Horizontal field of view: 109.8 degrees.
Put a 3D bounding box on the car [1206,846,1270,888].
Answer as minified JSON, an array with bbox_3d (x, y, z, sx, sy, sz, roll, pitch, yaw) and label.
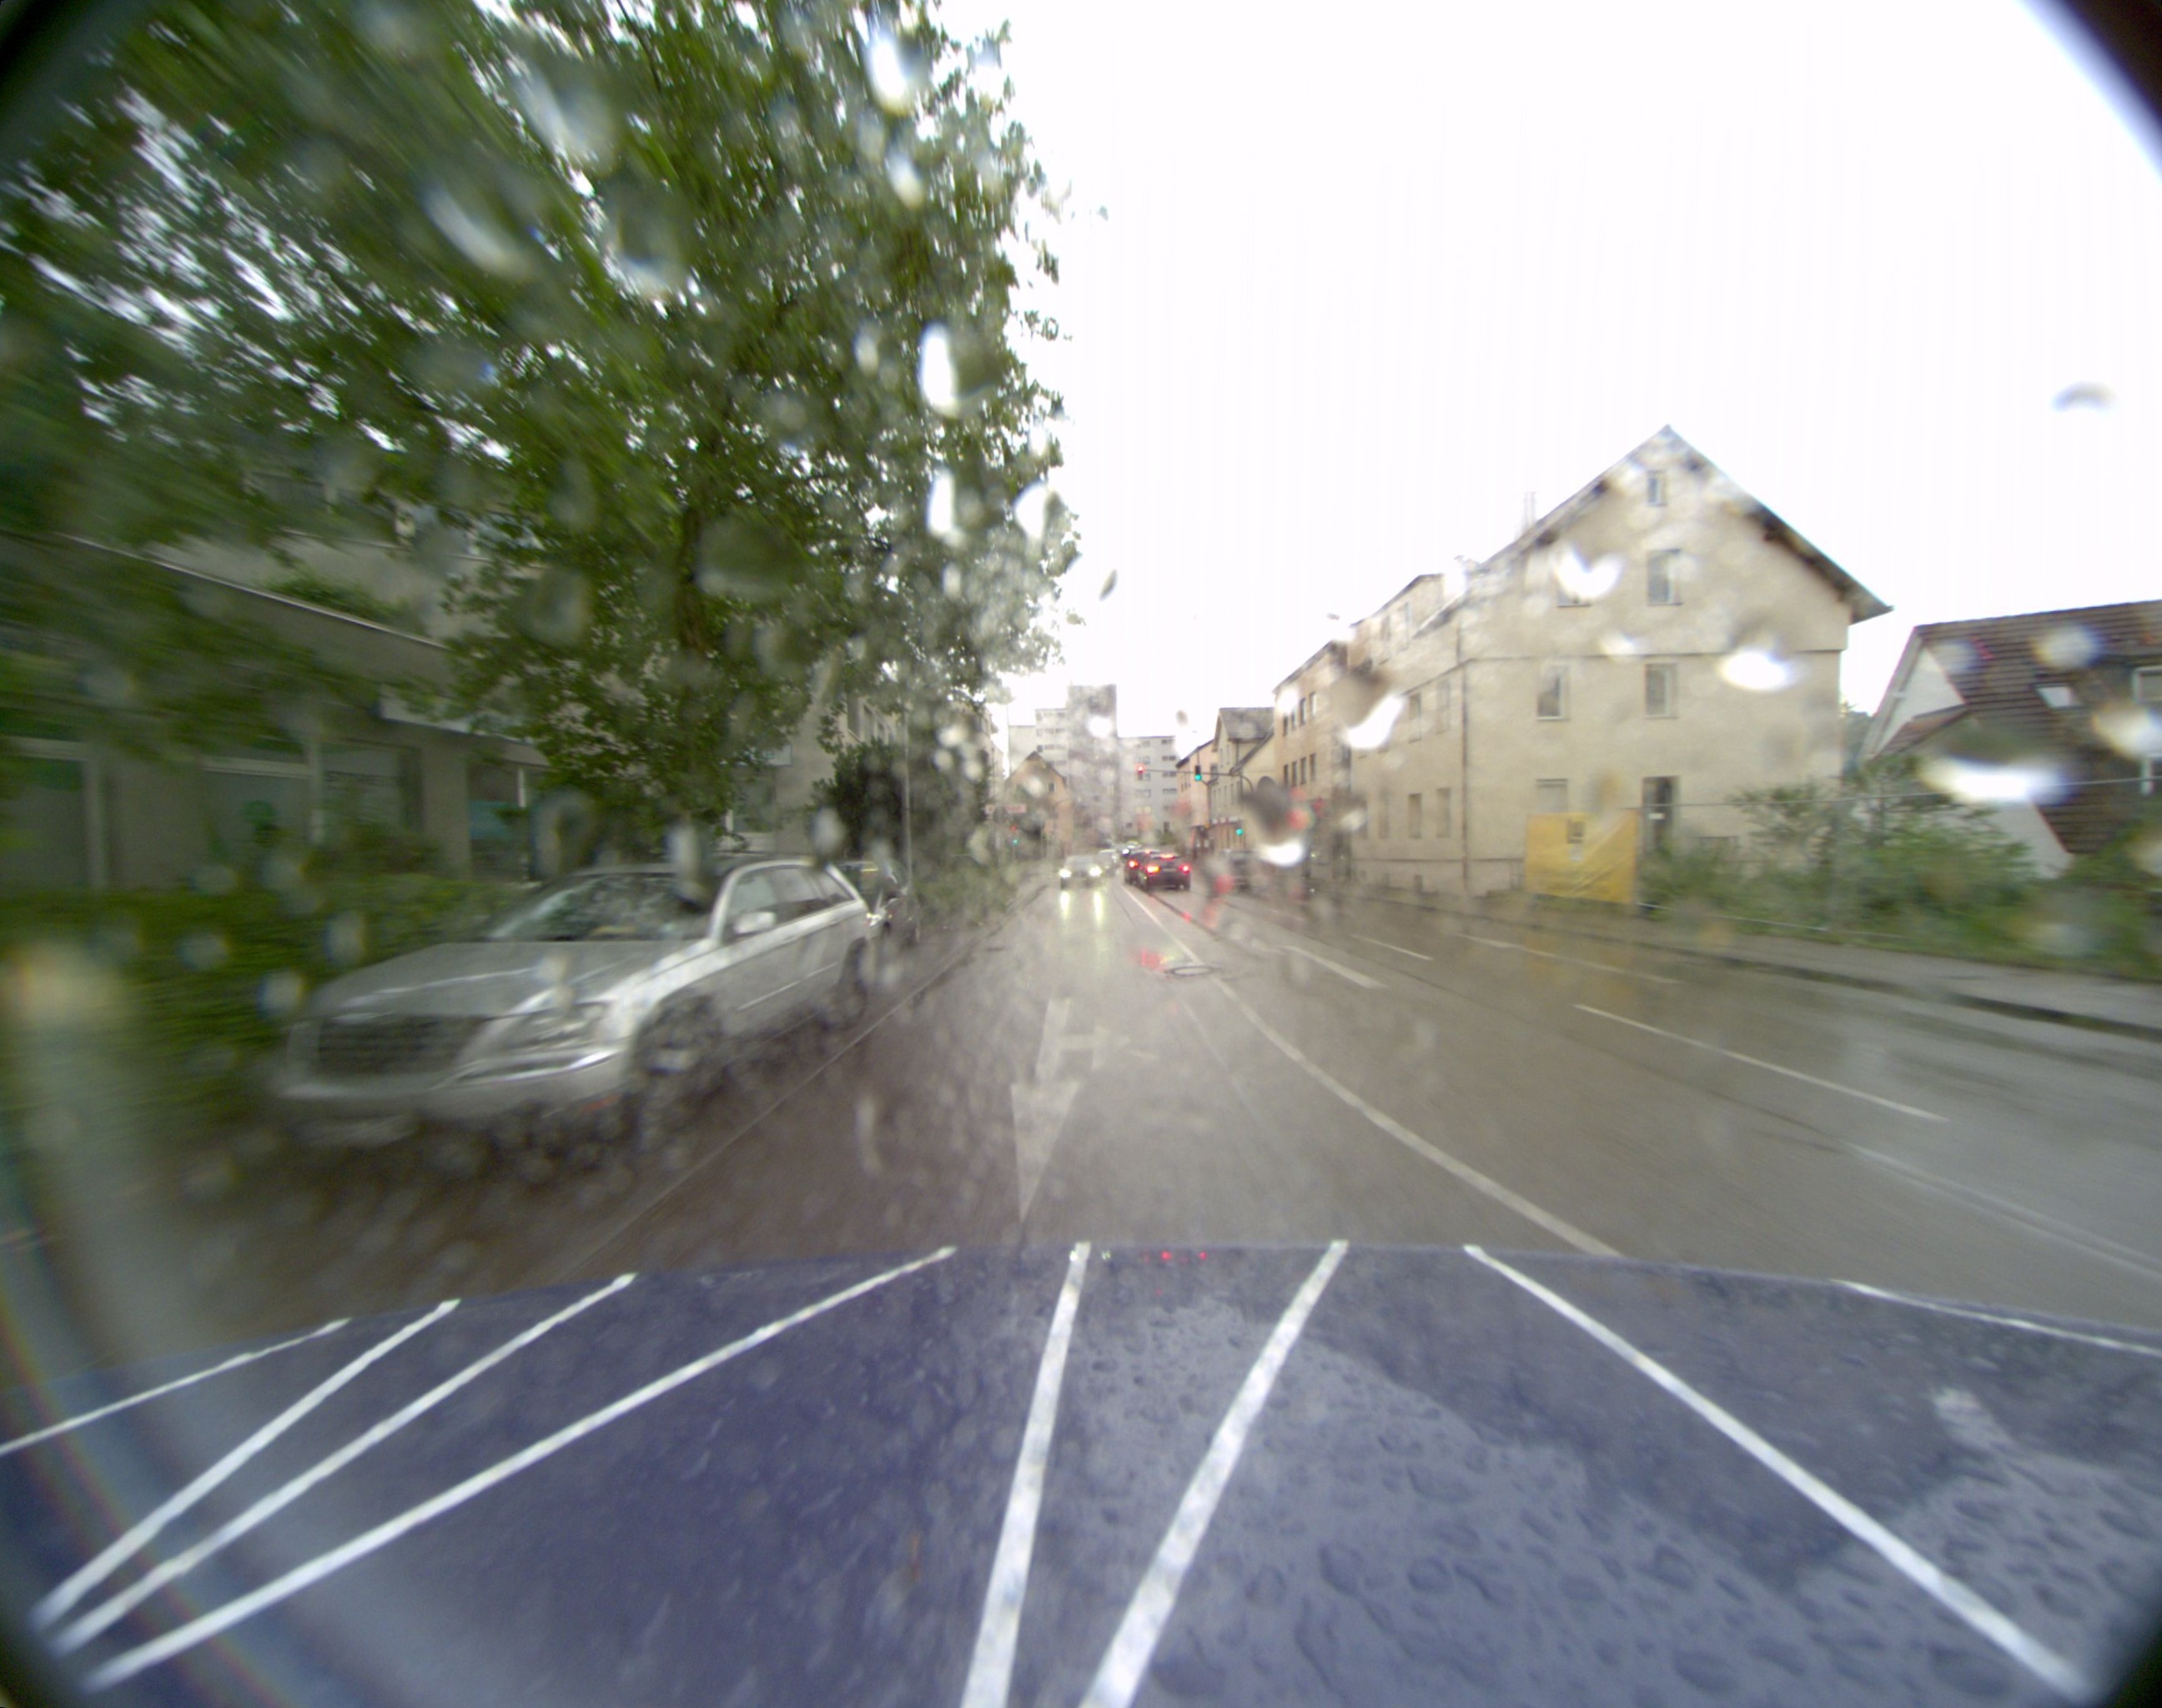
[{"bbox_3d":[6.308,0.466,30.870,1.820,1.562,4.275,-1,1,2],"label":"car"}]

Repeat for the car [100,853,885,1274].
[{"bbox_3d":[-3.127,0.889,5.594,1.935,1.770,4.734,-1,0,2],"label":"car"}]

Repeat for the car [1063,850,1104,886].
[{"bbox_3d":[0.096,0.619,36.495,1.820,1.562,4.275,-2,0,0],"label":"car"}]

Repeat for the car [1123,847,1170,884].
[{"bbox_3d":[3.083,0.530,36.709,1.820,1.635,4.275,-2,0,0],"label":"car"}]

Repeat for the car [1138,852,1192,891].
[{"bbox_3d":[3.278,0.643,30.261,1.711,1.375,3.669,-2,0,0],"label":"car"}]

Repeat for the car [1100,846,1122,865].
[{"bbox_3d":[2.362,0.097,61.377,1.686,1.413,4.000,-2,1,1],"label":"car"}]

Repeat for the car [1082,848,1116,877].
[{"bbox_3d":[1.074,0.475,47.487,1.998,1.652,3.999,-2,0,0],"label":"car"}]

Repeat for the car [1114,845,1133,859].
[{"bbox_3d":[4.562,-0.240,80.644,1.685,1.452,4.002,-2,1,7],"label":"car"}]

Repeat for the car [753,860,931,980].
[{"bbox_3d":[-3.613,0.915,12.244,1.714,1.563,3.913,-1,0,-2],"label":"car"}]

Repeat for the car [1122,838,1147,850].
[{"bbox_3d":[6.944,-1.248,98.266,1.683,1.452,4.007,-1,1,30],"label":"car"}]
